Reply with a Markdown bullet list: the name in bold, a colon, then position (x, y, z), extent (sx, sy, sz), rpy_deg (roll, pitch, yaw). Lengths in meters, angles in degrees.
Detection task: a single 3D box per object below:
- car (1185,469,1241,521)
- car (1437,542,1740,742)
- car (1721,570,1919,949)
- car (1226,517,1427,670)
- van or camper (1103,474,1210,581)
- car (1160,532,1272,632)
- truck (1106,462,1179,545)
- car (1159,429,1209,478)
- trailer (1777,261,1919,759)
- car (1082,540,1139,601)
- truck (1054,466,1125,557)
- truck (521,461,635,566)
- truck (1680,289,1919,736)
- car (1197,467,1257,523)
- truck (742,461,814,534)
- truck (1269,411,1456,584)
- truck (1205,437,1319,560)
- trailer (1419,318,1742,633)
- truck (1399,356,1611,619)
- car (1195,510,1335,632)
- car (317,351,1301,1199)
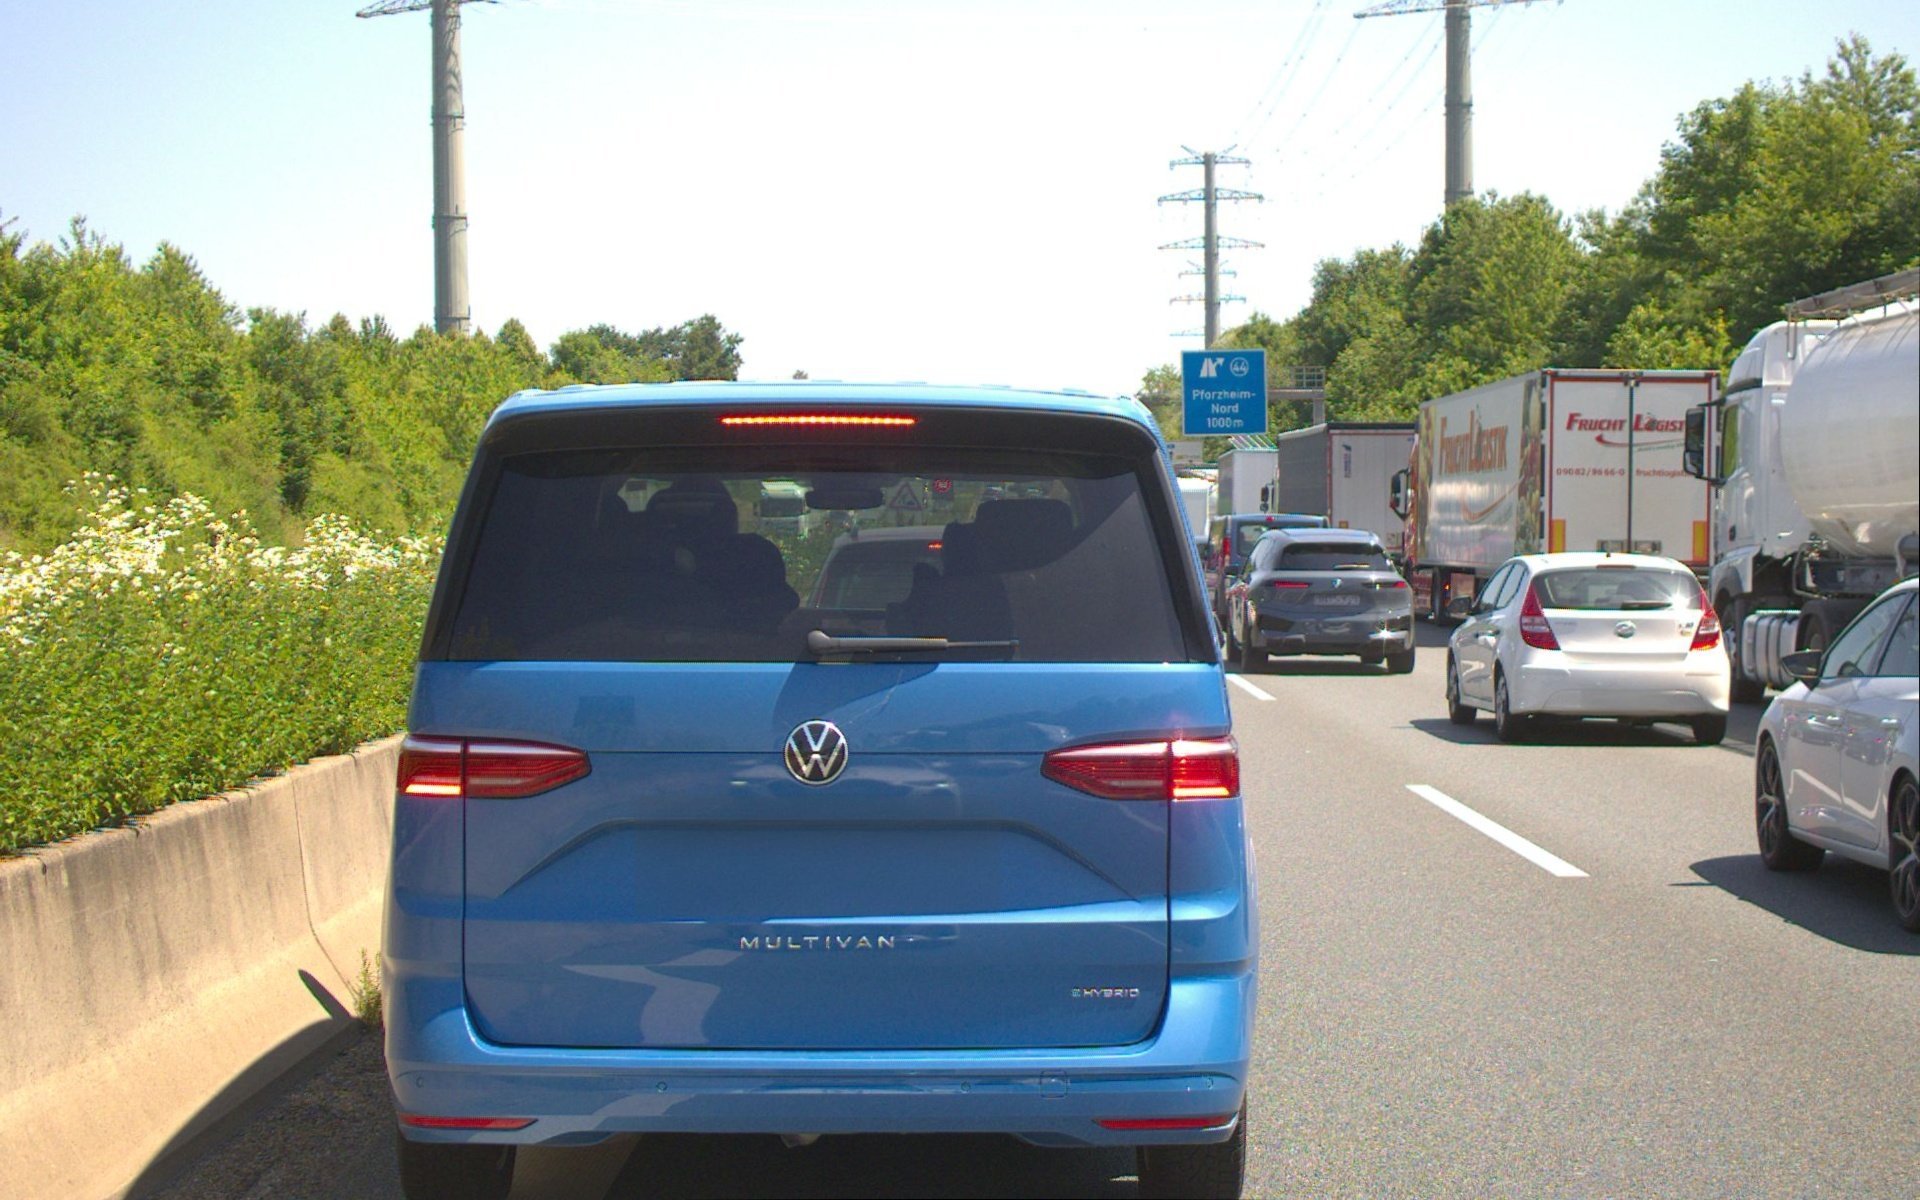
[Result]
- **car**: position (10.264, -4.251, 139.759), extent (1.993, 2.007, 4.000), rpy_deg (-1, 0, 1)
- **car**: position (5.022, 0.313, 27.947), extent (1.817, 1.480, 4.000), rpy_deg (-1, 0, 2)
- **car**: position (4.539, 0.587, 14.528), extent (1.747, 1.438, 4.313), rpy_deg (-1, 0, 1)
- **car**: position (4.362, -0.075, 41.536), extent (1.999, 1.709, 4.625), rpy_deg (-1, 0, 1)
- **van or camper**: position (5.724, -2.090, 101.061), extent (2.957, 3.011, 7.102), rpy_deg (-1, 0, 2)
- **car**: position (5.215, -0.362, 70.598), extent (1.923, 1.919, 4.236), rpy_deg (-2, 0, 0)
- **truck**: position (10.358, -5.432, 196.188), extent (3.566, 4.502, 10.293), rpy_deg (-1, 0, 0)
- **car**: position (9.801, -6.397, 150.733), extent (1.993, 2.007, 4.000), rpy_deg (-1, 0, 1)
- **trailer**: position (8.774, -0.694, 25.245), extent (2.761, 3.831, 11.486), rpy_deg (-1, 1, 0)
- **car**: position (5.082, -0.982, 116.372), extent (1.836, 1.992, 4.000), rpy_deg (-2, 0, 2)
- **truck**: position (5.584, -3.779, 149.722), extent (2.895, 3.753, 10.140), rpy_deg (-1, 0, 1)
- **truck**: position (-14.545, -3.285, 131.755), extent (2.911, 3.806, 11.944), rpy_deg (1, 1, 1)
- **truck**: position (8.776, -0.803, 32.280), extent (2.793, 3.823, 5.572), rpy_deg (-1, 1, 0)
- **car**: position (10.075, -3.941, 129.975), extent (1.993, 2.007, 4.000), rpy_deg (-1, 0, 1)
- **truck**: position (-9.862, -5.519, 187.630), extent (3.172, 3.806, 11.944), rpy_deg (1, 1, 1)
- **truck**: position (9.497, -2.302, 82.934), extent (3.006, 3.753, 15.712), rpy_deg (-1, 0, 1)
- **truck**: position (9.923, -3.262, 114.243), extent (2.895, 3.753, 13.344), rpy_deg (-1, 0, 1)
- **trailer**: position (9.675, -1.856, 55.164), extent (2.912, 4.453, 12.154), rpy_deg (-1, 1, 0)
- **truck**: position (9.672, -1.958, 61.511), extent (2.912, 4.453, 5.143), rpy_deg (-1, 1, 0)
- **car**: position (5.106, -0.478, 57.973), extent (1.923, 1.919, 4.236), rpy_deg (-2, 0, 0)
- **car**: position (-0.281, 0.422, 8.751), extent (1.920, 1.880, 4.000), rpy_deg (1, 1, 1)
